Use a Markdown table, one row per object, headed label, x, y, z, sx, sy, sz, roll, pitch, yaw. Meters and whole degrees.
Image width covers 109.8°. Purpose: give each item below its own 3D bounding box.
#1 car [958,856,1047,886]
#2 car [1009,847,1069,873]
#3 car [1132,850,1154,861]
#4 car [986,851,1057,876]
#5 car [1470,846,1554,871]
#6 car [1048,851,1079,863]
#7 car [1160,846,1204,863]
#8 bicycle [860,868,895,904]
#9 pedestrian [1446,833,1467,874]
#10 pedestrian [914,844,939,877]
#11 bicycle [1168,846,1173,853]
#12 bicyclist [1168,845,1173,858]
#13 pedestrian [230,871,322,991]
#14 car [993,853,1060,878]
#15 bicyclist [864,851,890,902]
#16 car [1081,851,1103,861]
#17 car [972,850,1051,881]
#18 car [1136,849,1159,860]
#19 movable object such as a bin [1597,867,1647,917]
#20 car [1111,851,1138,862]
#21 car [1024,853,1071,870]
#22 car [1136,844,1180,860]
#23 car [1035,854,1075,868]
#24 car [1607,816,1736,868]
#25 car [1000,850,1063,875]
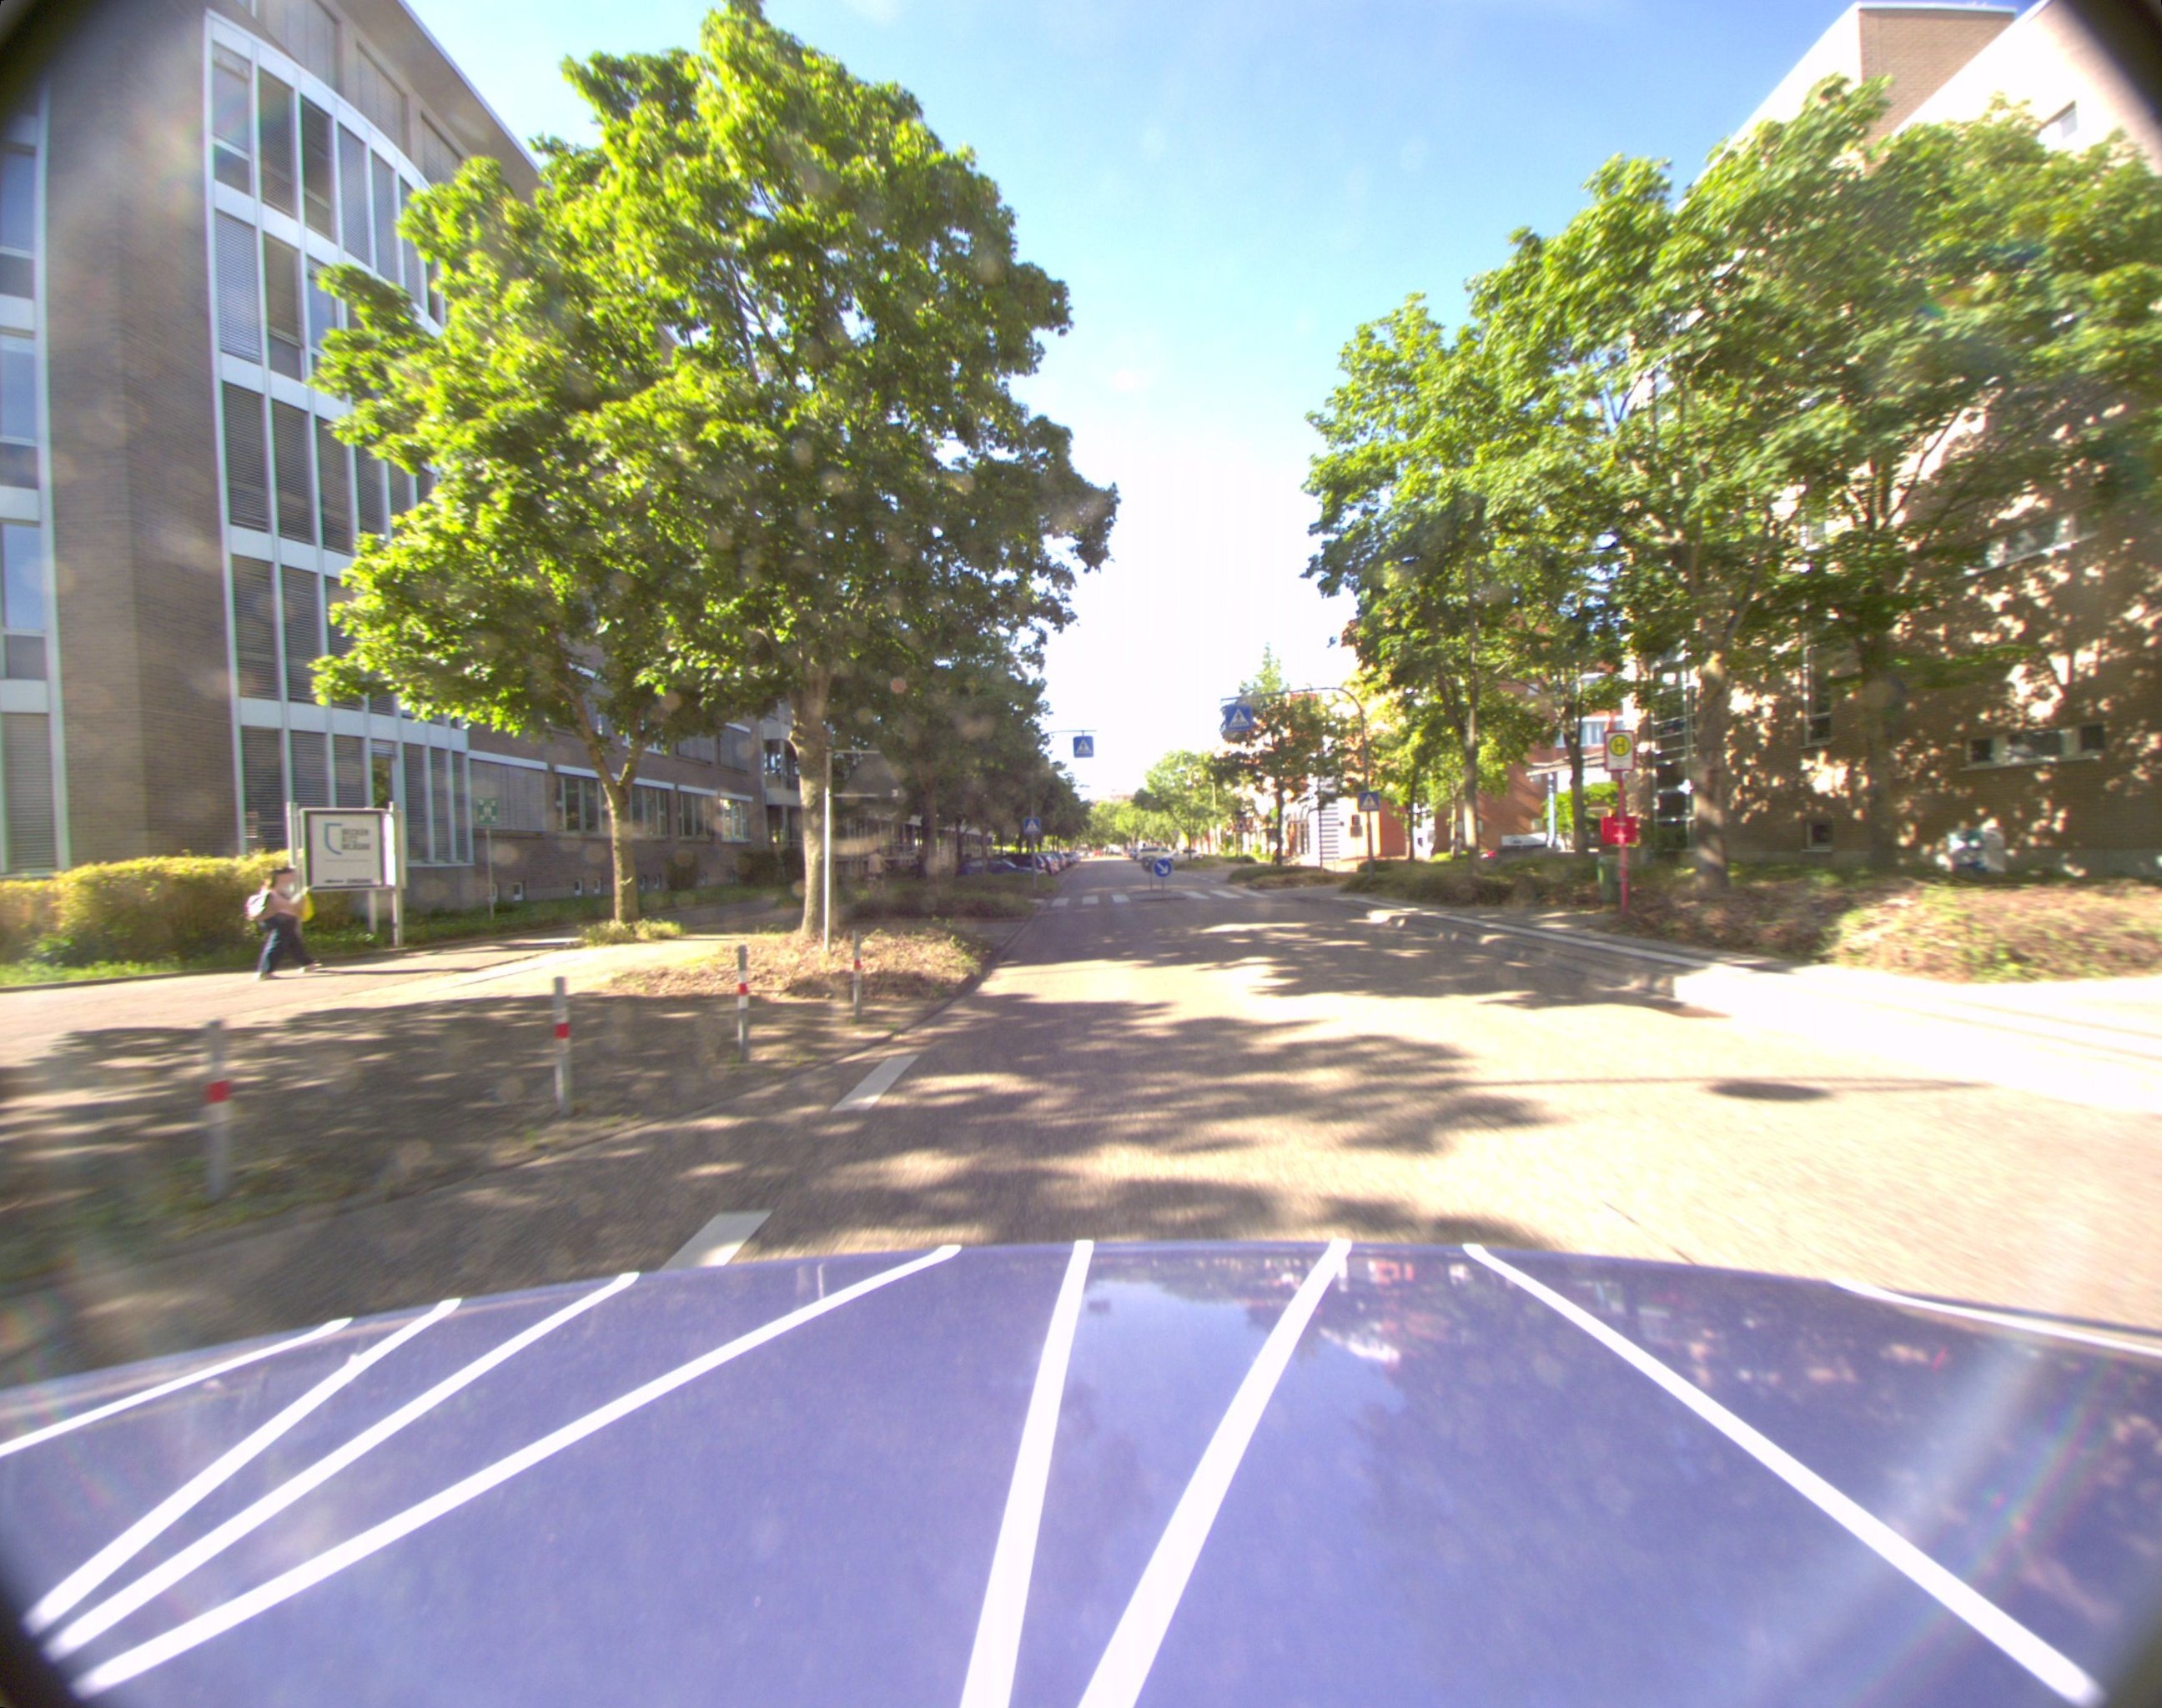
| label | x | y | z | sx | sy | sz | roll | pitch | yaw |
| --- | --- | --- | --- | --- | --- | --- | --- | --- | --- |
| car | -3.676 | 0.806 | 36.041 | 4.126 | 1.362 | 1.654 | 0 | 1 | -3 |
| car | -2.958 | 0.447 | 54.168 | 4.136 | 1.657 | 1.907 | -2 | 1 | -3 |
| car | 10.094 | 0.262 | 123.458 | 3.451 | 1.647 | 1.594 | -1 | 1 | 1 |
| car | -3.515 | 0.575 | 45.354 | 4.136 | 1.452 | 1.660 | 0 | 1 | -3 |
| car | 28.427 | 0.278 | 50.220 | 4.437 | 1.444 | 1.848 | -2 | 0 | 2 |
| car | -2.285 | 0.378 | 98.681 | 3.998 | 1.471 | 1.804 | -1 | 1 | -2 |
| car | 9.811 | 0.080 | 74.031 | 4.003 | 1.411 | 1.618 | -3 | 1 | 0 |
| bicycle | -6.688 | 1.034 | 25.008 | 0.535 | 1.072 | 1.920 | -2 | 0 | 2 |
| pedestrian | 17.610 | -0.018 | 35.618 | 0.623 | 1.907 | 0.672 | -1 | 1 | 2 |
| pedestrian | -8.677 | 0.343 | 42.709 | 1.037 | 1.788 | 1.018 | -4 | 1 | 0 |
| bicycle | 14.526 | -0.778 | 123.542 | 0.637 | 1.093 | 2.155 | -4 | 2 | 5 |
| bicyclist | 14.521 | -0.405 | 123.434 | 0.633 | 2.002 | 0.609 | -3 | 1 | 4 |
| pedestrian | -11.136 | 1.040 | 10.533 | 0.539 | 1.573 | 0.648 | -2 | 1 | -9 |
| car | -3.390 | 0.703 | 47.728 | 4.136 | 1.508 | 1.836 | -1 | 0 | -3 |
| bicyclist | -6.697 | 0.717 | 24.993 | 0.538 | 1.627 | 0.822 | -2 | 1 | 2 |
| car | 1.736 | 0.296 | 122.647 | 3.554 | 1.544 | 1.743 | 0 | -2 | -2 |
| car | -3.665 | 0.591 | 40.640 | 4.136 | 1.581 | 1.659 | 0 | 1 | -3 |
| car | 10.660 | 0.099 | 121.422 | 3.451 | 1.619 | 1.594 | -1 | 1 | 1 |
| movable object such as a bin | 8.260 | 0.575 | 11.613 | 0.442 | 0.727 | 0.408 | -3 | 1 | 5 |
| car | 6.461 | 0.343 | 113.995 | 4.006 | 1.637 | 1.795 | -1 | 1 | 2 |
| car | -2.984 | 0.624 | 68.310 | 3.995 | 1.486 | 1.714 | 0 | 1 | 4 |
| car | 9.766 | -0.203 | 96.537 | 5.317 | 1.875 | 2.000 | -1 | 1 | 2 |
| car | -2.635 | 0.715 | 76.729 | 3.916 | 1.374 | 1.586 | 0 | 2 | -3 |
| car | 32.135 | -0.630 | 41.473 | 5.474 | 2.554 | 1.923 | -2 | 1 | 0 |
| car | -3.315 | 0.543 | 51.217 | 3.996 | 1.575 | 1.714 | -1 | 1 | 2 |
